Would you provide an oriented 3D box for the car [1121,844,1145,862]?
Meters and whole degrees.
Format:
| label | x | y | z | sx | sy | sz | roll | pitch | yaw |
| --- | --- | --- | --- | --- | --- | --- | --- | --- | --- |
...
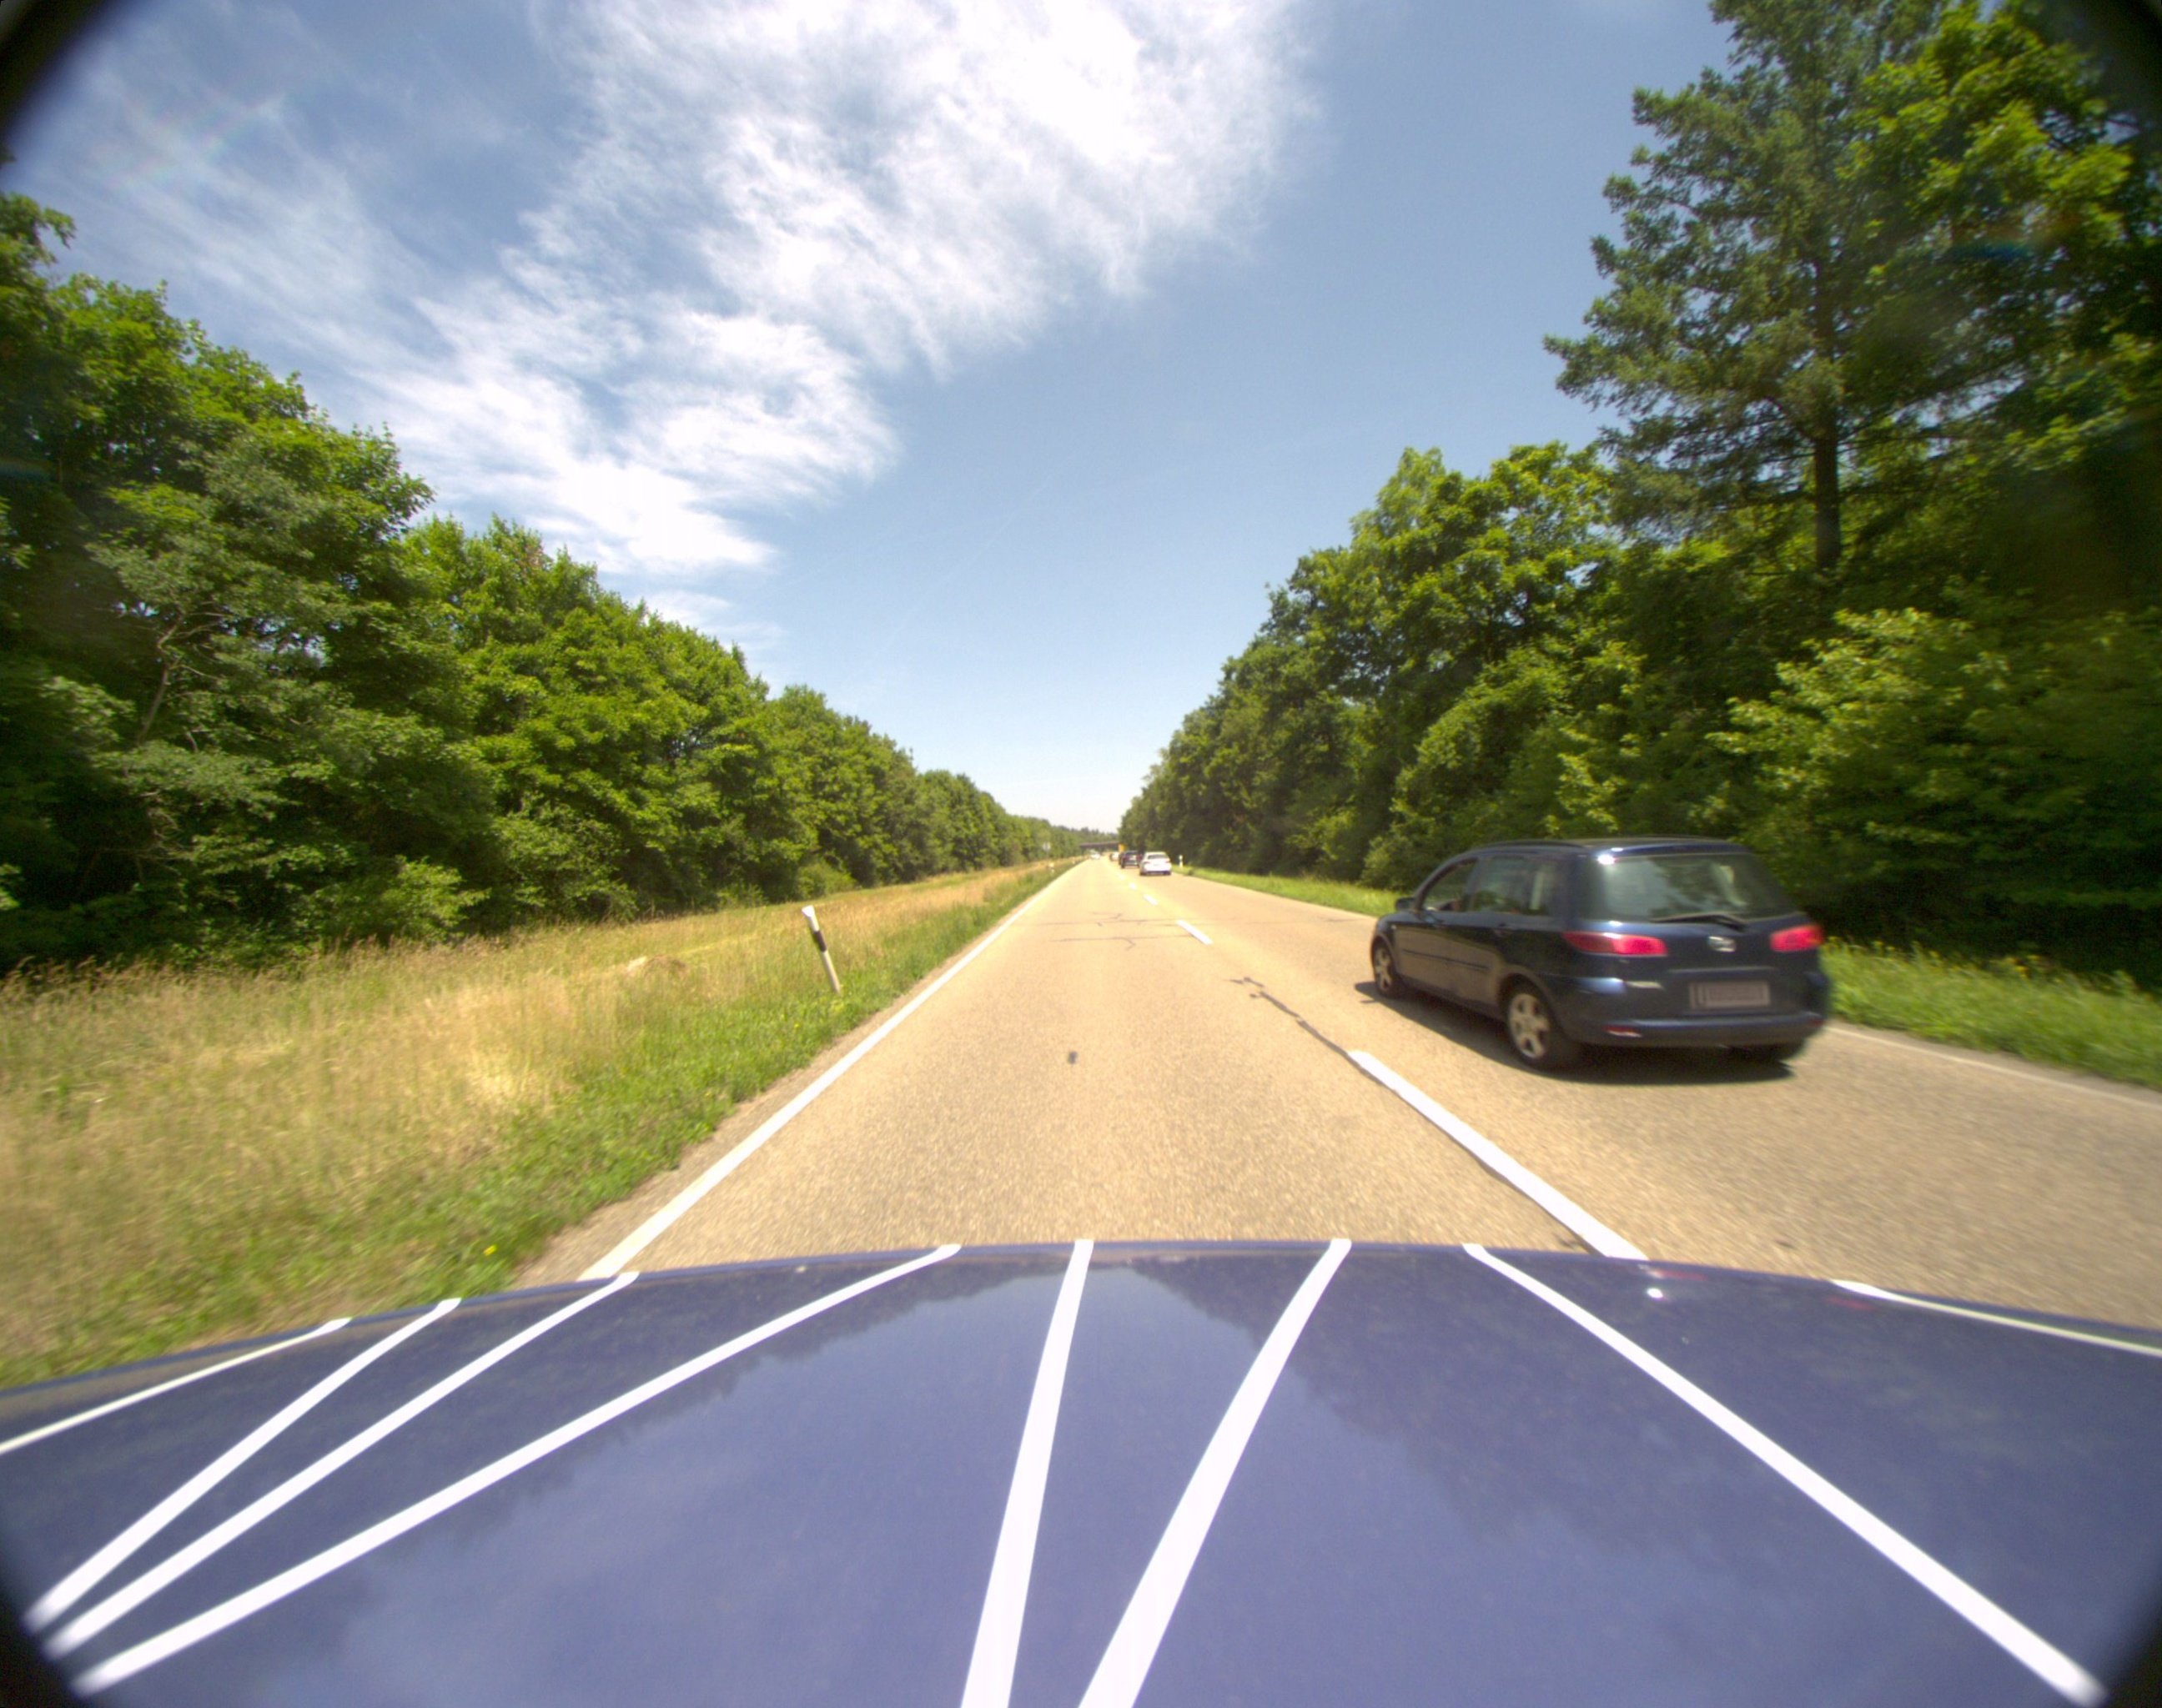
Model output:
| label | x | y | z | sx | sy | sz | roll | pitch | yaw |
| --- | --- | --- | --- | --- | --- | --- | --- | --- | --- |
| car | 4.895 | -0.074 | 72.064 | 1.870 | 1.615 | 4.200 | -2 | 0 | 0 |

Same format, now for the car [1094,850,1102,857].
| label | x | y | z | sx | sy | sz | roll | pitch | yaw |
| --- | --- | --- | --- | --- | --- | --- | --- | --- | --- |
| car | 4.127 | -0.161 | 187.865 | 1.865 | 1.747 | 3.999 | -3 | 1 | 0 |

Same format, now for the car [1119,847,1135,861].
| label | x | y | z | sx | sy | sz | roll | pitch | yaw |
| --- | --- | --- | --- | --- | --- | --- | --- | --- | --- |
| car | 5.602 | -0.002 | 93.011 | 1.756 | 1.596 | 4.440 | -2 | 1 | 1 |

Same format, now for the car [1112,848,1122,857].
| label | x | y | z | sx | sy | sz | roll | pitch | yaw |
| --- | --- | --- | --- | --- | --- | --- | --- | --- | --- |
| car | 6.347 | -0.361 | 135.119 | 1.671 | 1.487 | 3.683 | -2 | 1 | 1 |

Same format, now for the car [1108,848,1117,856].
| label | x | y | z | sx | sy | sz | roll | pitch | yaw |
| --- | --- | --- | --- | --- | --- | --- | --- | --- | --- |
| car | 7.261 | -0.514 | 174.659 | 1.891 | 1.651 | 3.705 | -3 | 0 | 1 |

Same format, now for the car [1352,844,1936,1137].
| label | x | y | z | sx | sy | sz | roll | pitch | yaw |
| --- | --- | --- | --- | --- | --- | --- | --- | --- | --- |
| car | 3.719 | 0.706 | 6.047 | 1.676 | 1.510 | 3.999 | -2 | 1 | 0 |

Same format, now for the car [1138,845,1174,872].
| label | x | y | z | sx | sy | sz | roll | pitch | yaw |
| --- | --- | --- | --- | --- | --- | --- | --- | --- | --- |
| car | 4.748 | 0.261 | 48.676 | 1.844 | 1.527 | 4.658 | -2 | 0 | 0 |
